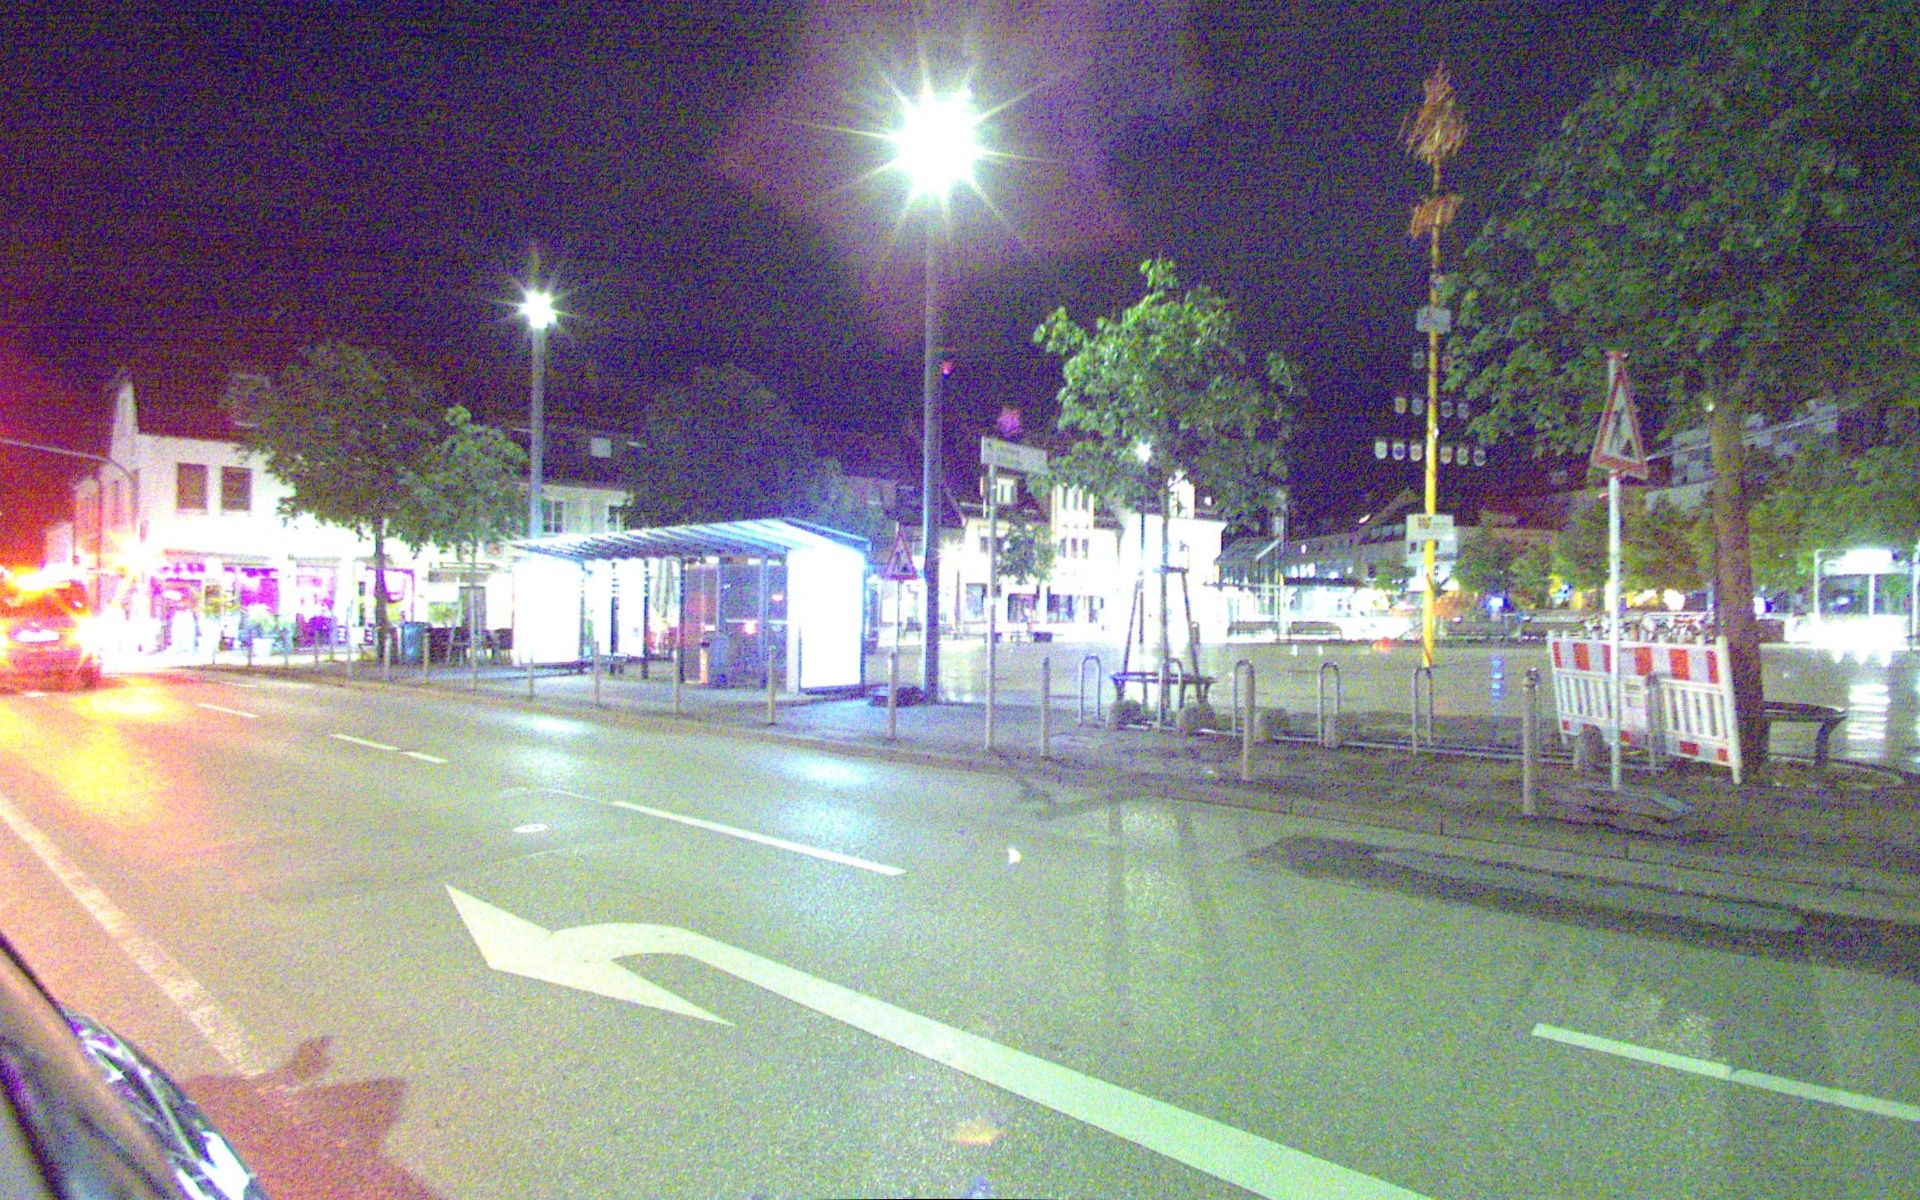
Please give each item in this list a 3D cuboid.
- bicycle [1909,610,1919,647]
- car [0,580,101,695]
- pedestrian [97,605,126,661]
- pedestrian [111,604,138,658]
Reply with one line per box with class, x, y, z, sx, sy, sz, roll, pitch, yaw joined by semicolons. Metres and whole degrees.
bicycle;26.402;0.759;26.976;1.525;0.965;0.476;-1;0;25
car;-17.388;0.643;18.502;4.911;1.886;1.945;-1;-1;42
pedestrian;-25.154;0.976;30.017;0.637;1.640;0.584;-1;0;-39
pedestrian;-26.131;0.957;31.672;0.637;1.640;0.584;-1;0;-39
